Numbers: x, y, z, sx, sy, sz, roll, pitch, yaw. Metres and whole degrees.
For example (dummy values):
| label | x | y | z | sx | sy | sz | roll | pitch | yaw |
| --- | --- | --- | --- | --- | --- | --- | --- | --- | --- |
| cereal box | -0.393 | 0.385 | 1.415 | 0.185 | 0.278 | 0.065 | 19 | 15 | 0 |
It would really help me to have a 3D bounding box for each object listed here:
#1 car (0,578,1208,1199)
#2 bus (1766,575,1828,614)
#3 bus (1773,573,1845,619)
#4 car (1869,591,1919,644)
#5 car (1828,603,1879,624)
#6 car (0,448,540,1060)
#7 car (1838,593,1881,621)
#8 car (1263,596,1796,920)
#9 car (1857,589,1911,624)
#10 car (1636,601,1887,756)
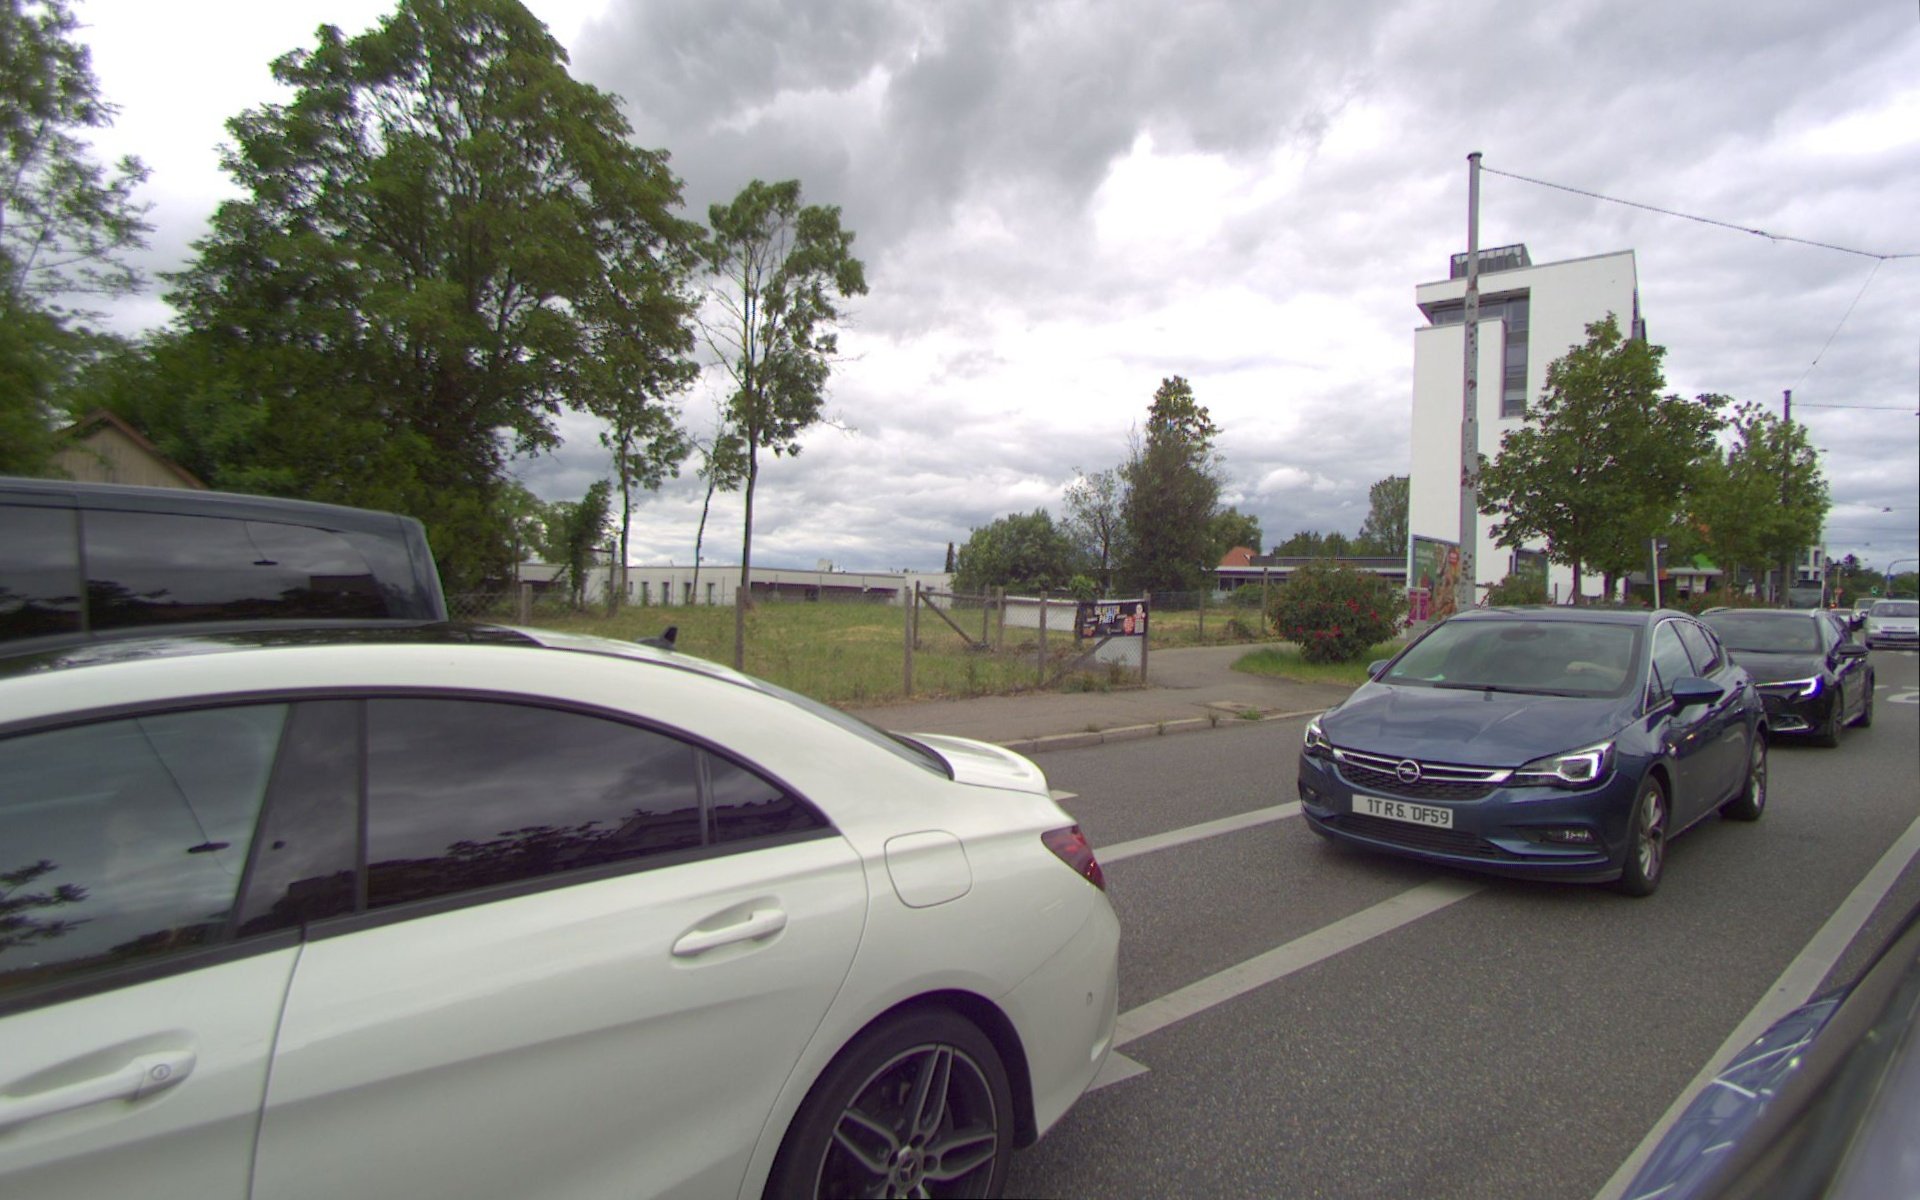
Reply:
| label | x | y | z | sx | sy | sz | roll | pitch | yaw |
| --- | --- | --- | --- | --- | --- | --- | --- | --- | --- |
| car | -1.535 | 0.697 | 1.815 | 4.300 | 1.451 | 1.652 | 0 | 1 | -41 |
| bus | 61.426 | -0.436 | 74.472 | 2.952 | 2.664 | 12.751 | 0 | 1 | 37 |
| bus | 53.959 | -0.303 | 64.572 | 2.952 | 2.664 | 11.986 | 0 | 1 | 37 |
| car | 30.965 | 0.546 | 32.751 | 3.717 | 1.637 | 1.849 | 0 | -1 | -41 |
| car | 75.592 | 1.118 | 85.594 | 3.919 | 1.621 | 2.003 | 0 | 1 | -29 |
| car | -4.089 | 0.474 | 3.359 | 4.627 | 1.863 | 1.952 | 0 | -1 | -41 |
| car | 62.947 | 0.437 | 70.858 | 1.990 | 1.844 | 3.945 | 2 | 2 | 38 |
| car | 3.812 | 0.693 | 6.482 | 3.931 | 1.428 | 1.825 | 0 | 0 | -42 |
| car | 51.842 | 0.356 | 56.839 | 1.842 | 1.910 | 4.081 | -1 | -1 | 37 |
| car | 9.368 | 0.761 | 11.721 | 3.854 | 1.475 | 1.663 | 0 | 0 | -42 |
